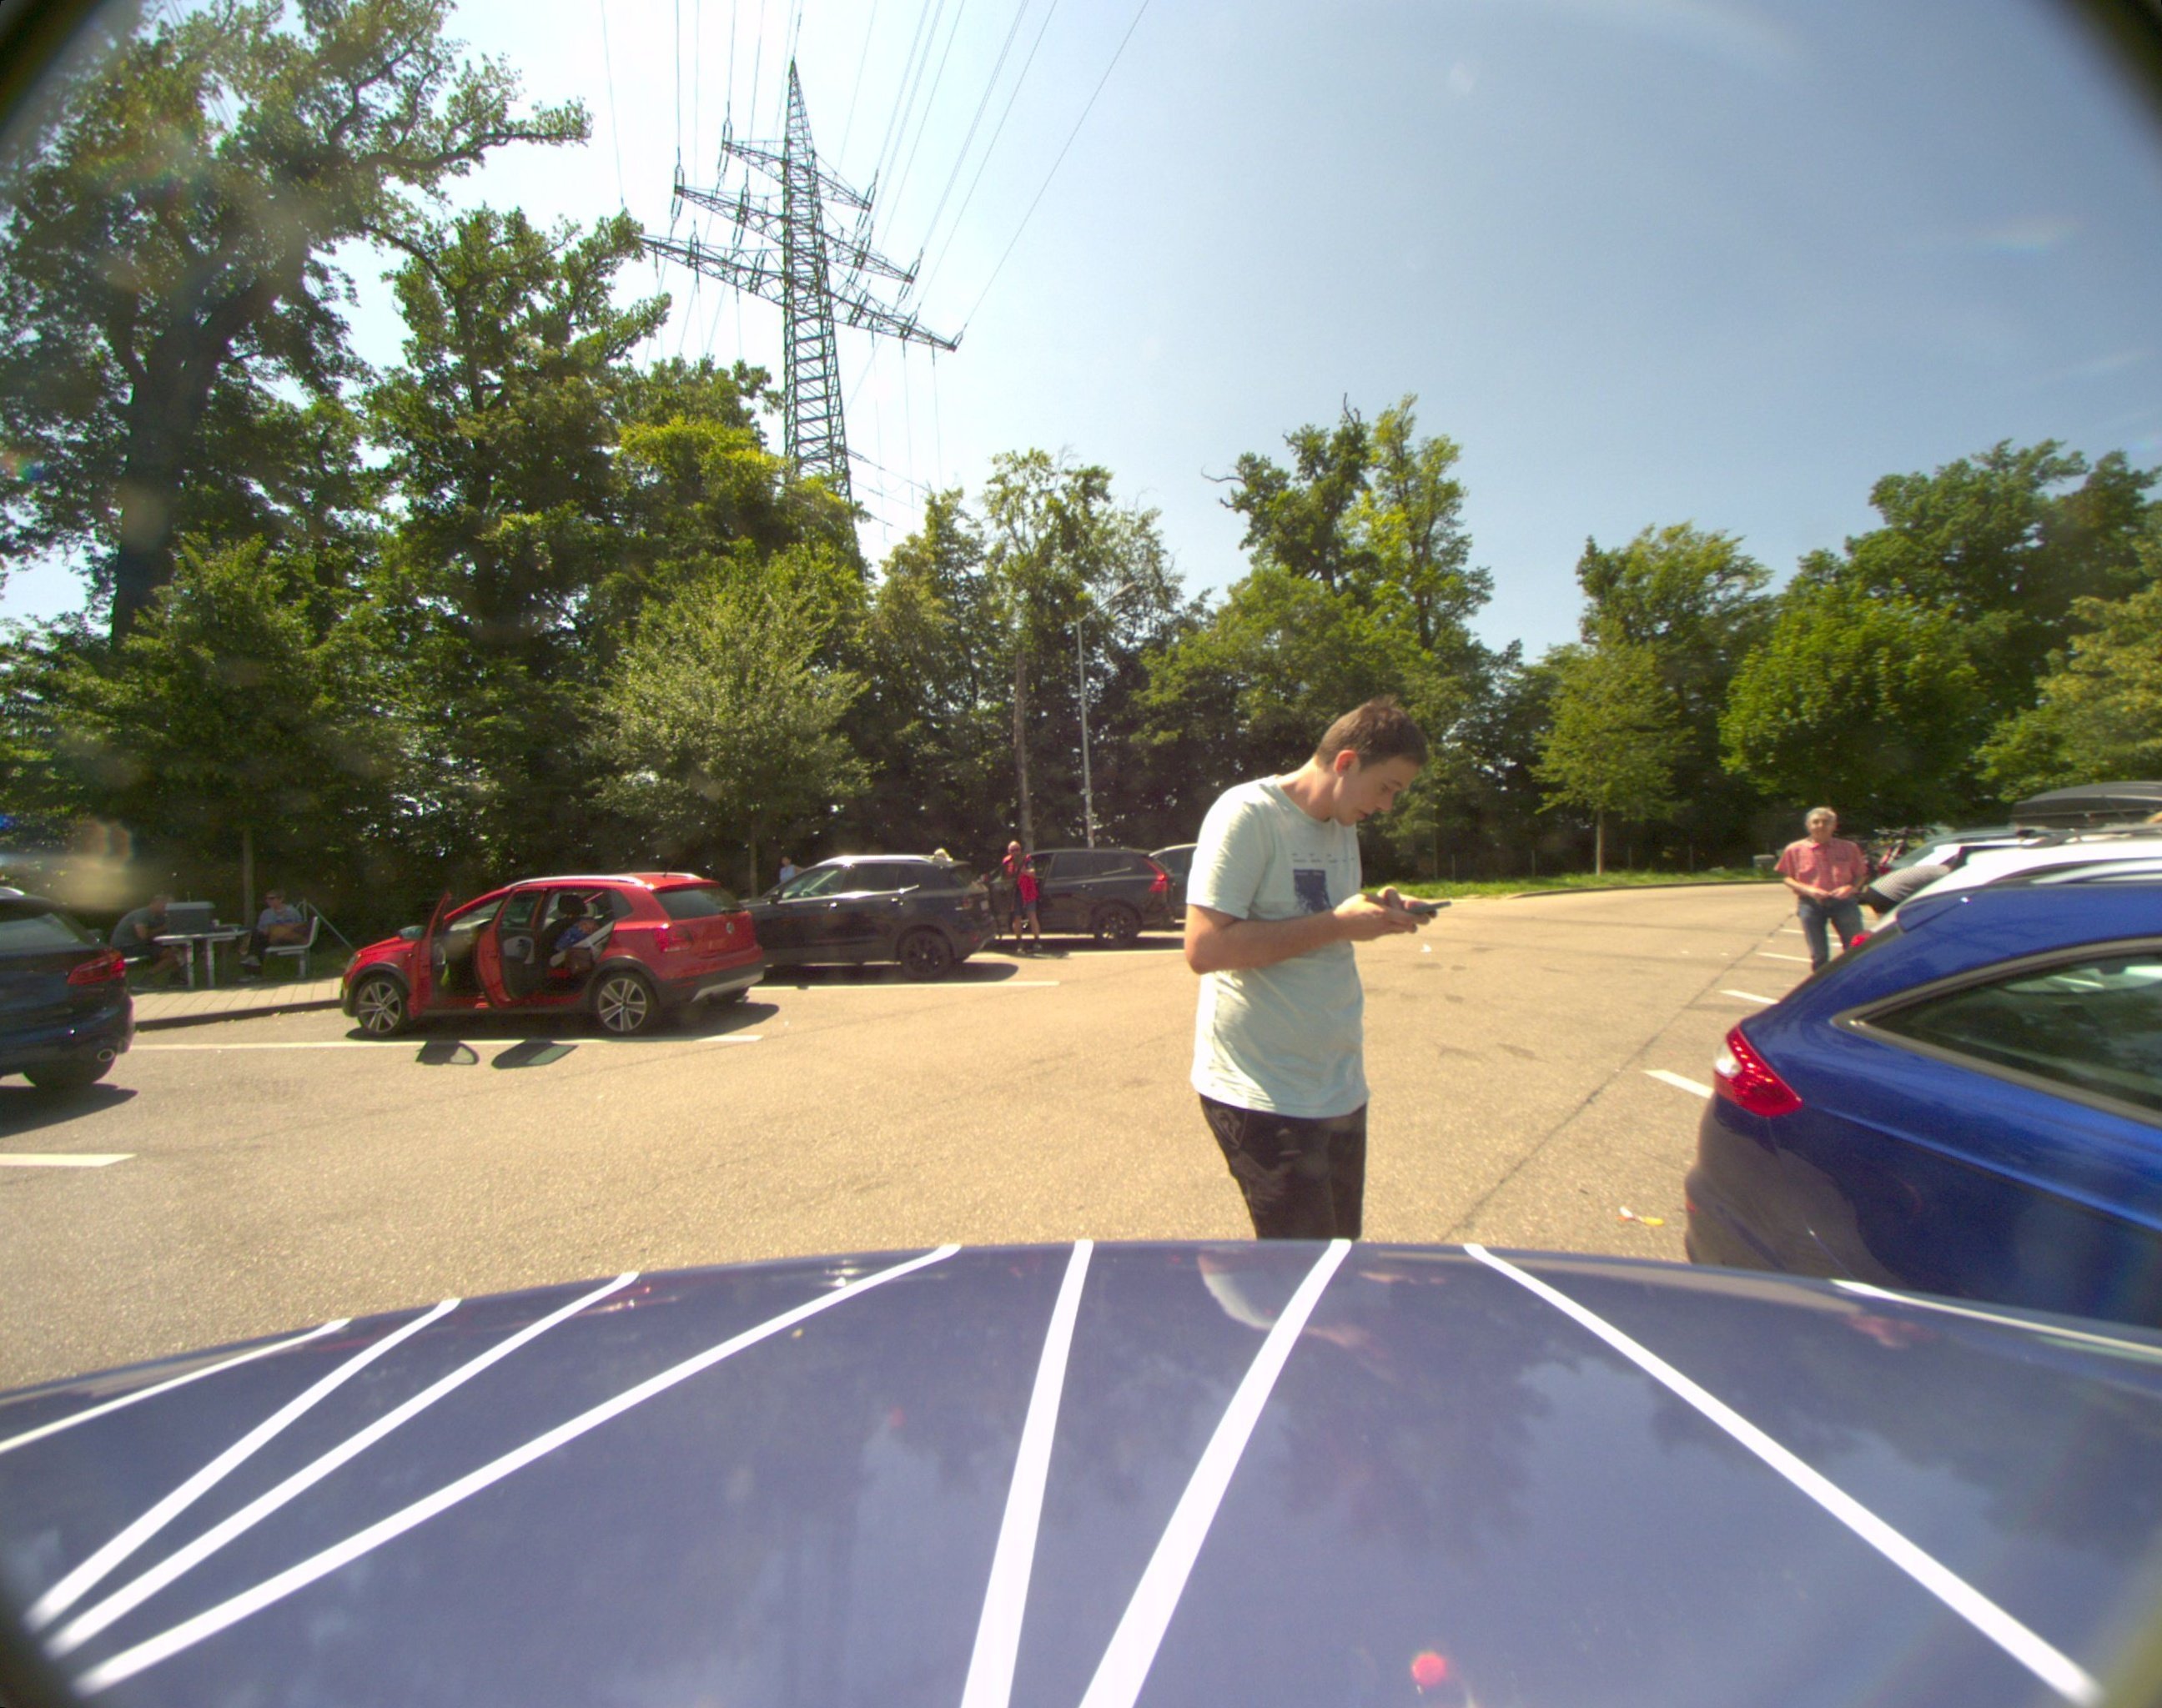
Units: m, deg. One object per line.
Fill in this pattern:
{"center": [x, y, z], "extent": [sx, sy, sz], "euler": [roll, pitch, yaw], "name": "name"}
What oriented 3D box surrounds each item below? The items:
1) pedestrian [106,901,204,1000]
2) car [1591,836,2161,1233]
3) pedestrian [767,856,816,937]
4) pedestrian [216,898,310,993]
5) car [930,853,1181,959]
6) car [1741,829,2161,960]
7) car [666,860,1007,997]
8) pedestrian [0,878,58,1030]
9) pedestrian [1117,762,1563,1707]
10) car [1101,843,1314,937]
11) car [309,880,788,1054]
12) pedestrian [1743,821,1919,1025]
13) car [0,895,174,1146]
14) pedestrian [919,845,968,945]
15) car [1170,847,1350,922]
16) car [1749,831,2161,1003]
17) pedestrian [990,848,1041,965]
{"center": [-12.745, 1.308, 10.467], "extent": [0.652, 1.262, 0.672], "euler": [-2, 0, 24], "name": "pedestrian"}
{"center": [4.875, 0.659, 3.657], "extent": [1.779, 1.456, 4.470], "euler": [-2, -1, 0], "name": "car"}
{"center": [-5.879, 0.844, 15.463], "extent": [0.715, 1.584, 0.809], "euler": [-2, 0, -7], "name": "pedestrian"}
{"center": [-11.955, 1.316, 11.108], "extent": [0.828, 1.287, 0.672], "euler": [-2, 0, 24], "name": "pedestrian"}
{"center": [-0.336, 0.843, 12.950], "extent": [3.964, 1.582, 1.781], "euler": [-2, 0, 8], "name": "car"}
{"center": [12.356, 0.478, 10.935], "extent": [1.779, 1.456, 4.470], "euler": [-2, -1, 0], "name": "car"}
{"center": [-3.155, 0.941, 10.372], "extent": [3.966, 1.582, 1.841], "euler": [-2, 0, 3], "name": "car"}
{"center": [-11.715, 1.068, 7.998], "extent": [0.775, 1.584, 0.810], "euler": [-2, 0, 5], "name": "pedestrian"}
{"center": [0.457, 0.707, 1.592], "extent": [0.687, 1.699, 0.578], "euler": [-2, 0, 1], "name": "pedestrian"}
{"center": [2.500, 0.699, 15.442], "extent": [3.964, 1.678, 1.781], "euler": [-2, 0, 7], "name": "car"}
{"center": [-5.202, 1.075, 7.712], "extent": [3.704, 1.448, 1.781], "euler": [-2, 0, 7], "name": "car"}
{"center": [6.259, 0.549, 6.384], "extent": [0.672, 1.592, 0.759], "euler": [-2, 0, 1], "name": "pedestrian"}
{"center": [-8.927, 1.160, 4.994], "extent": [4.011, 1.558, 1.846], "euler": [-2, 0, 6], "name": "car"}
{"center": [-2.662, 0.778, 14.683], "extent": [0.682, 1.854, 0.713], "euler": [-2, 0, -30], "name": "pedestrian"}
{"center": [4.169, 0.715, 18.195], "extent": [3.964, 1.577, 1.781], "euler": [-2, 0, 7], "name": "car"}
{"center": [10.055, 0.534, 8.150], "extent": [1.779, 1.456, 4.470], "euler": [-2, -1, 0], "name": "car"}
{"center": [-1.010, 0.796, 11.816], "extent": [0.660, 1.745, 0.636], "euler": [-2, 0, 1], "name": "pedestrian"}
